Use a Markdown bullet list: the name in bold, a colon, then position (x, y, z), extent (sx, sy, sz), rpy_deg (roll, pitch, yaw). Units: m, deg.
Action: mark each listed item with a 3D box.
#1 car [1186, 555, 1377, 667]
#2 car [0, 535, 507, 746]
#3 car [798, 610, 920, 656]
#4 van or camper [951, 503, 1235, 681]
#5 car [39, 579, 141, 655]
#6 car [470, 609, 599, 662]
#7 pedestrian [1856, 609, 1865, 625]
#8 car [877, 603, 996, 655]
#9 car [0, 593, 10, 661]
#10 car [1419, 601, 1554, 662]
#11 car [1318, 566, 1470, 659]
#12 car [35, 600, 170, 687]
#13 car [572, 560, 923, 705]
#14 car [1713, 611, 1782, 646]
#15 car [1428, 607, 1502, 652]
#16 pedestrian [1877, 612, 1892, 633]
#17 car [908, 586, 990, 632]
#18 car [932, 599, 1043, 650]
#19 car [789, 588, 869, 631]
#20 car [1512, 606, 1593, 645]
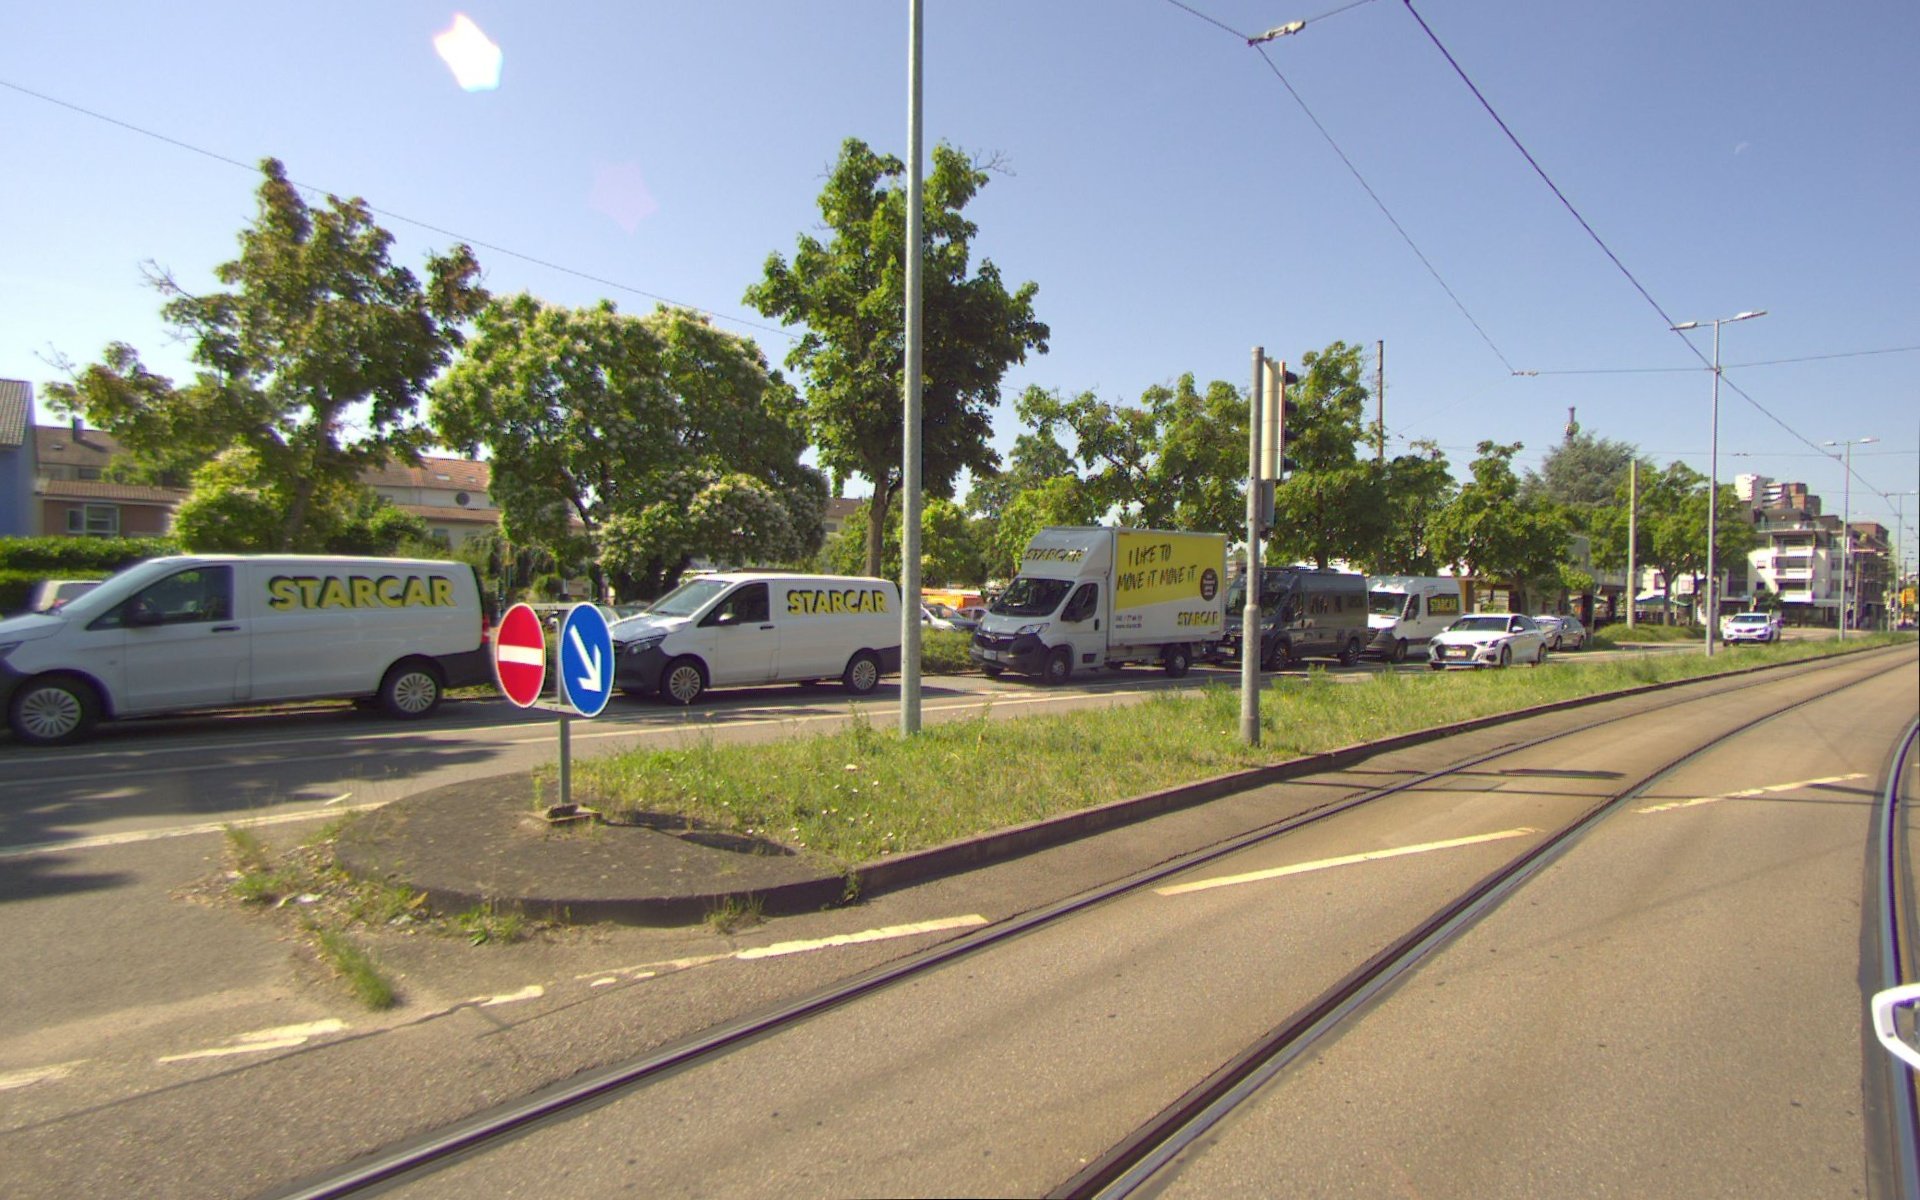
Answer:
- **car**: position (8.760, 0.249, 27.017), extent (6.036, 2.704, 2.175), rpy_deg (0, 2, -43)
- **car**: position (-8.300, 0.371, 11.613), extent (2.172, 1.967, 5.155), rpy_deg (2, 1, 43)
- **car**: position (-3.126, 0.968, 30.603), extent (1.652, 1.288, 3.949), rpy_deg (1, -1, -43)
- **van or camper**: position (3.058, -0.169, 21.588), extent (6.721, 3.285, 2.176), rpy_deg (0, 2, -42)
- **car**: position (-23.783, 0.432, 27.407), extent (3.945, 1.916, 1.774), rpy_deg (0, 0, 44)
- **car**: position (-10.201, 0.798, 23.958), extent (1.652, 1.169, 3.852), rpy_deg (1, -1, -43)
- **pedestrian**: position (118.063, 2.206, 131.695), extent (0.926, 2.040, 0.985), rpy_deg (0, 0, 42)
- **car**: position (-0.800, 0.886, 32.246), extent (1.652, 1.564, 3.949), rpy_deg (1, -1, -43)
- **car**: position (-26.405, 0.698, 26.563), extent (3.945, 1.751, 1.725), rpy_deg (0, 0, 44)
- **car**: position (13.615, 0.776, 25.883), extent (4.305, 1.441, 1.774), rpy_deg (1, -1, -43)
- **car**: position (13.867, 0.346, 31.888), extent (5.936, 2.666, 2.175), rpy_deg (0, 2, -43)
- **car**: position (-15.734, 0.723, 18.363), extent (1.720, 1.428, 3.949), rpy_deg (1, -1, -43)
- **car**: position (-3.278, 0.434, 16.215), extent (5.146, 1.967, 2.176), rpy_deg (1, 2, -42)
- **car**: position (38.517, 1.370, 49.082), extent (4.628, 1.618, 2.023), rpy_deg (1, -1, -44)
- **car**: position (18.013, 1.011, 35.775), extent (1.278, 1.510, 3.653), rpy_deg (0, -1, 45)
- **pedestrian**: position (76.194, 1.851, 82.781), extent (0.816, 1.762, 0.928), rpy_deg (0, -1, 39)
- **car**: position (-0.598, 0.443, 50.294), extent (3.945, 2.229, 1.899), rpy_deg (0, 0, 44)
- **car**: position (0.930, 0.837, 35.531), extent (1.652, 1.717, 3.949), rpy_deg (1, -1, -43)
- **car**: position (-6.460, 0.460, 49.286), extent (3.945, 2.030, 1.899), rpy_deg (0, 0, 44)
- **car**: position (25.226, 1.037, 42.700), extent (4.582, 1.510, 1.589), rpy_deg (0, 2, -42)
